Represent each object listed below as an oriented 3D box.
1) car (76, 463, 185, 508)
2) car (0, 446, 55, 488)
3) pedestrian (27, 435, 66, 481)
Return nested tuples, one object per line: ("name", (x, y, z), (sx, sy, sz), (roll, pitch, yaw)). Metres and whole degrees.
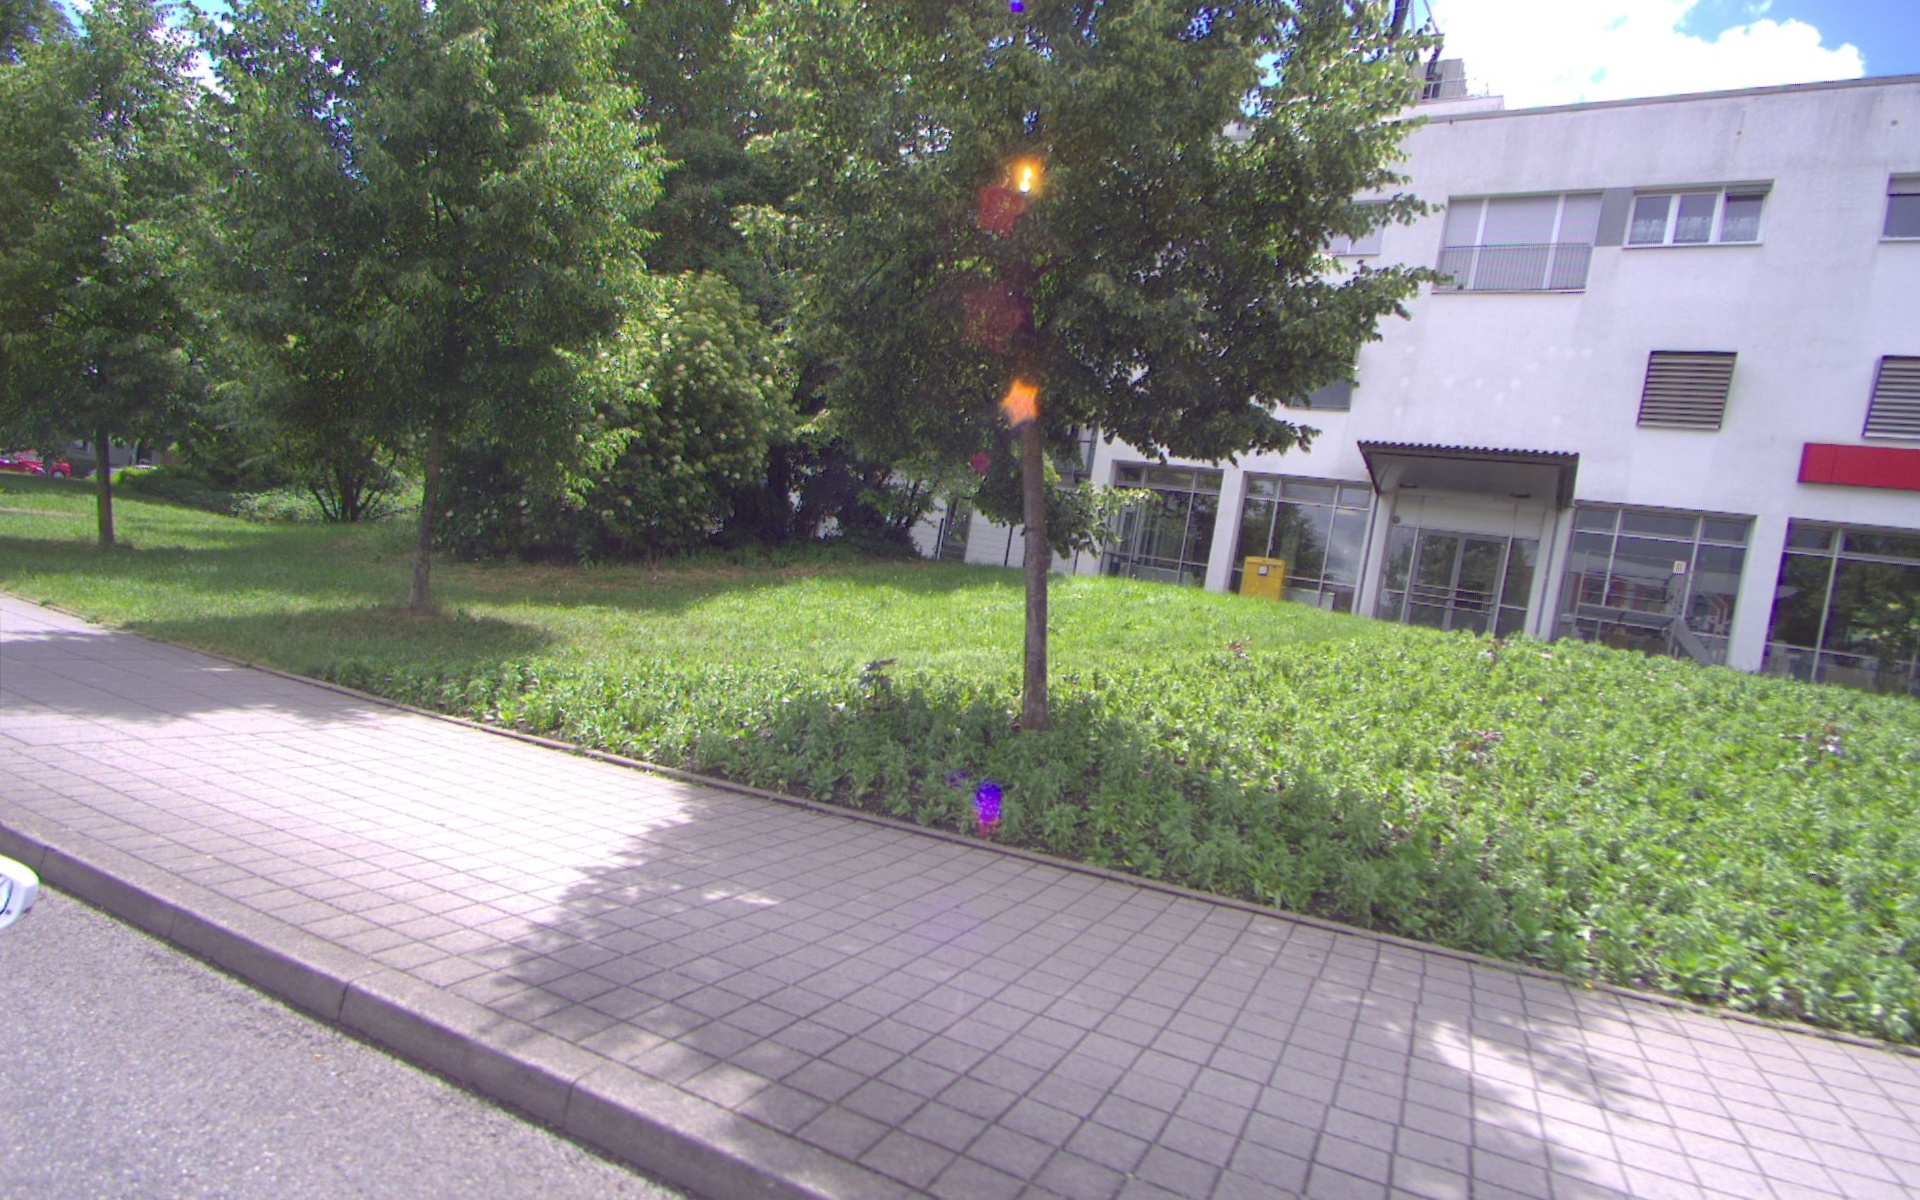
("car", (-45.400, -6.241, 55.162), (1.964, 1.578, 4.089), (9, 1, 24))
("car", (-47.690, -6.796, 49.843), (1.797, 1.663, 3.697), (11, 0, 25))
("pedestrian", (-39.281, -6.111, 43.276), (0.845, 1.782, 0.985), (9, 1, 38))
